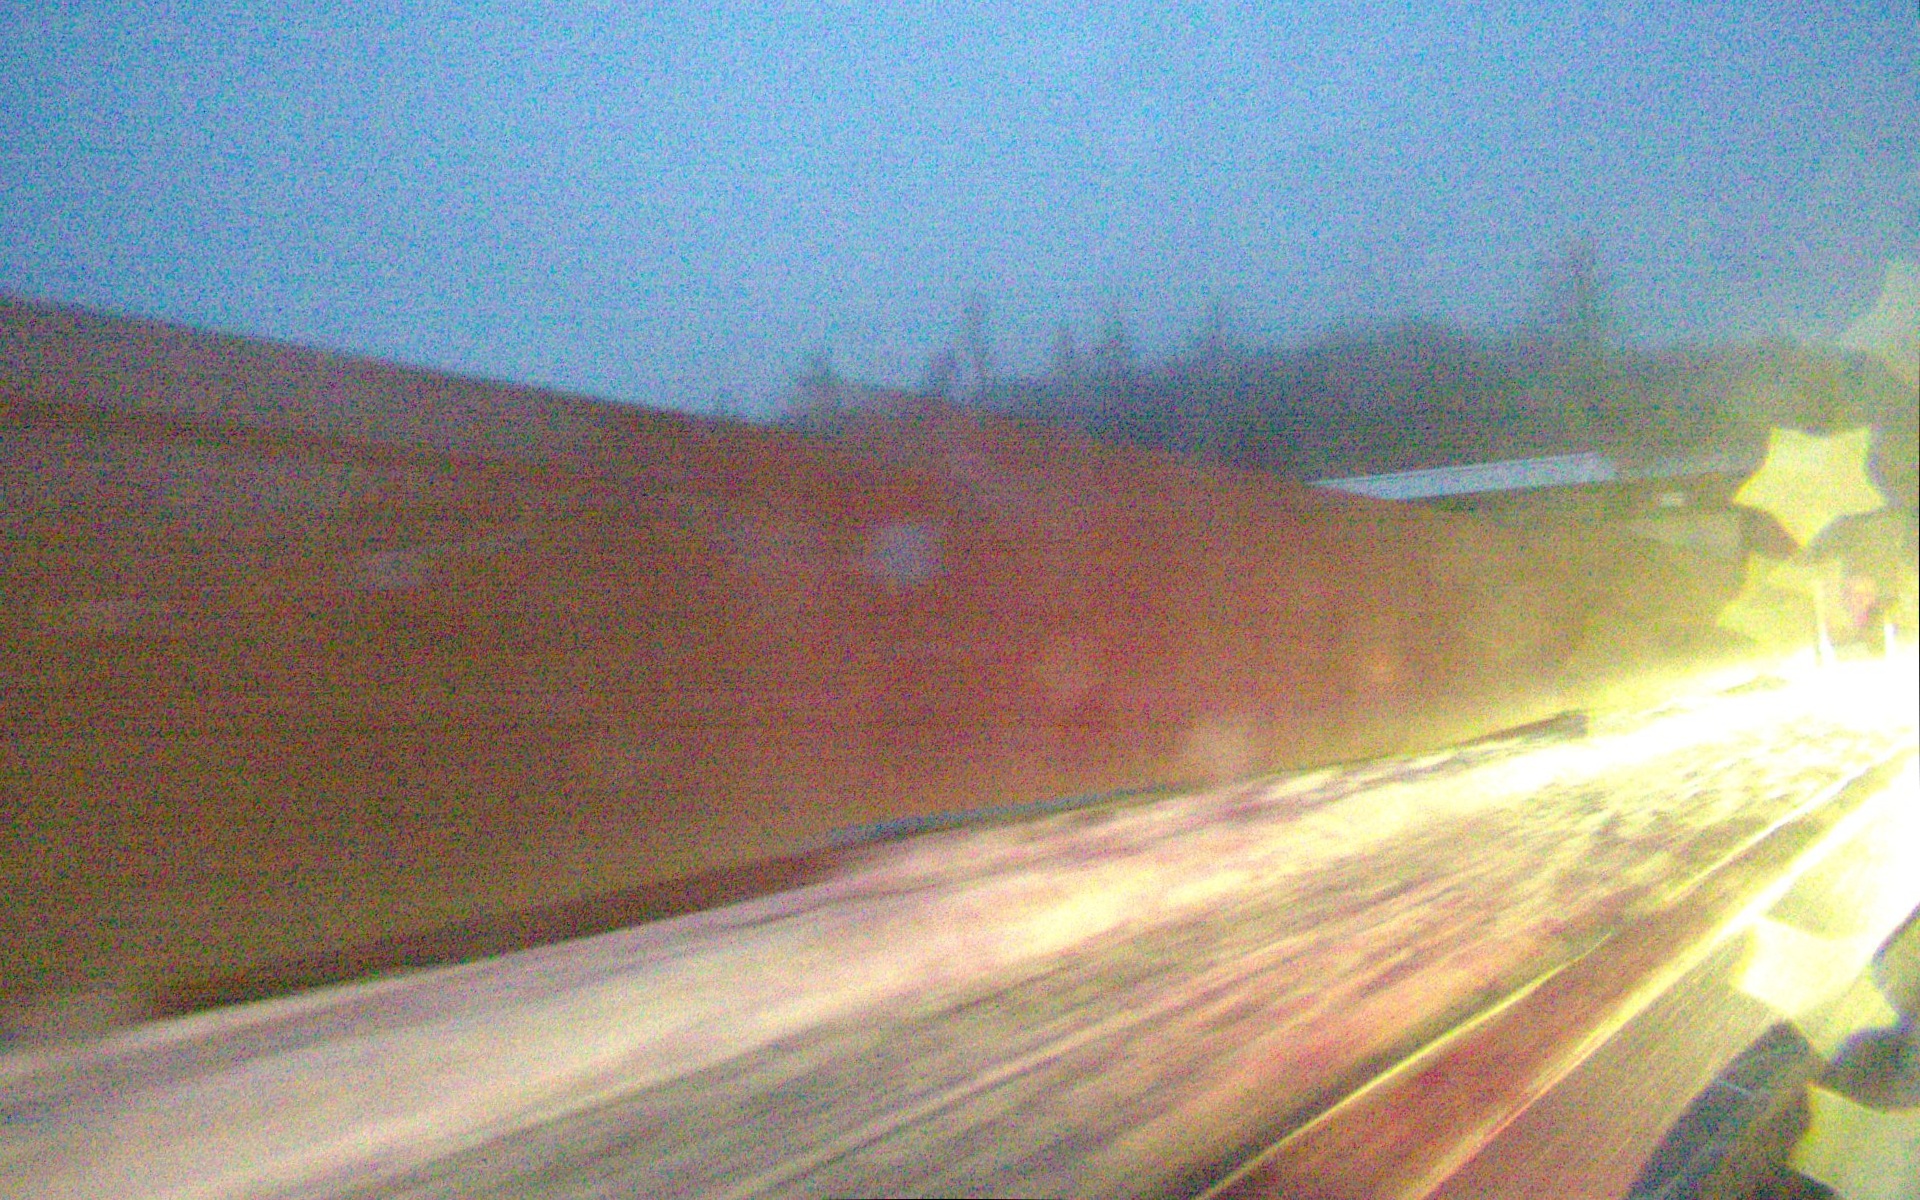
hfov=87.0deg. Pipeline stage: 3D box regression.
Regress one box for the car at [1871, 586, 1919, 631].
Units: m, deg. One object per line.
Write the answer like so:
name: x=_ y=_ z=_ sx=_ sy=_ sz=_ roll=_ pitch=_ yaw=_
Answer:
car: x=46.719 y=0.397 z=50.407 sx=1.877 sy=2.066 sz=4.323 roll=-3 pitch=-1 yaw=43

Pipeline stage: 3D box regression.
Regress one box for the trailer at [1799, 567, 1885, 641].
trailer: x=30.853 y=0.120 z=35.355 sx=4.574 sy=2.395 sz=1.631 roll=-1 pitch=-3 yaw=-43

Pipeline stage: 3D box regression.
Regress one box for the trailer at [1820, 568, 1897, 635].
trailer: x=34.537 y=0.029 z=38.856 sx=4.356 sy=2.383 sz=1.607 roll=-1 pitch=-3 yaw=-42

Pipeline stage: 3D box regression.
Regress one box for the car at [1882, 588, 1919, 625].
car: x=50.119 y=0.330 z=53.381 sx=4.088 sy=1.833 sz=1.878 roll=-1 pitch=-1 yaw=-45
